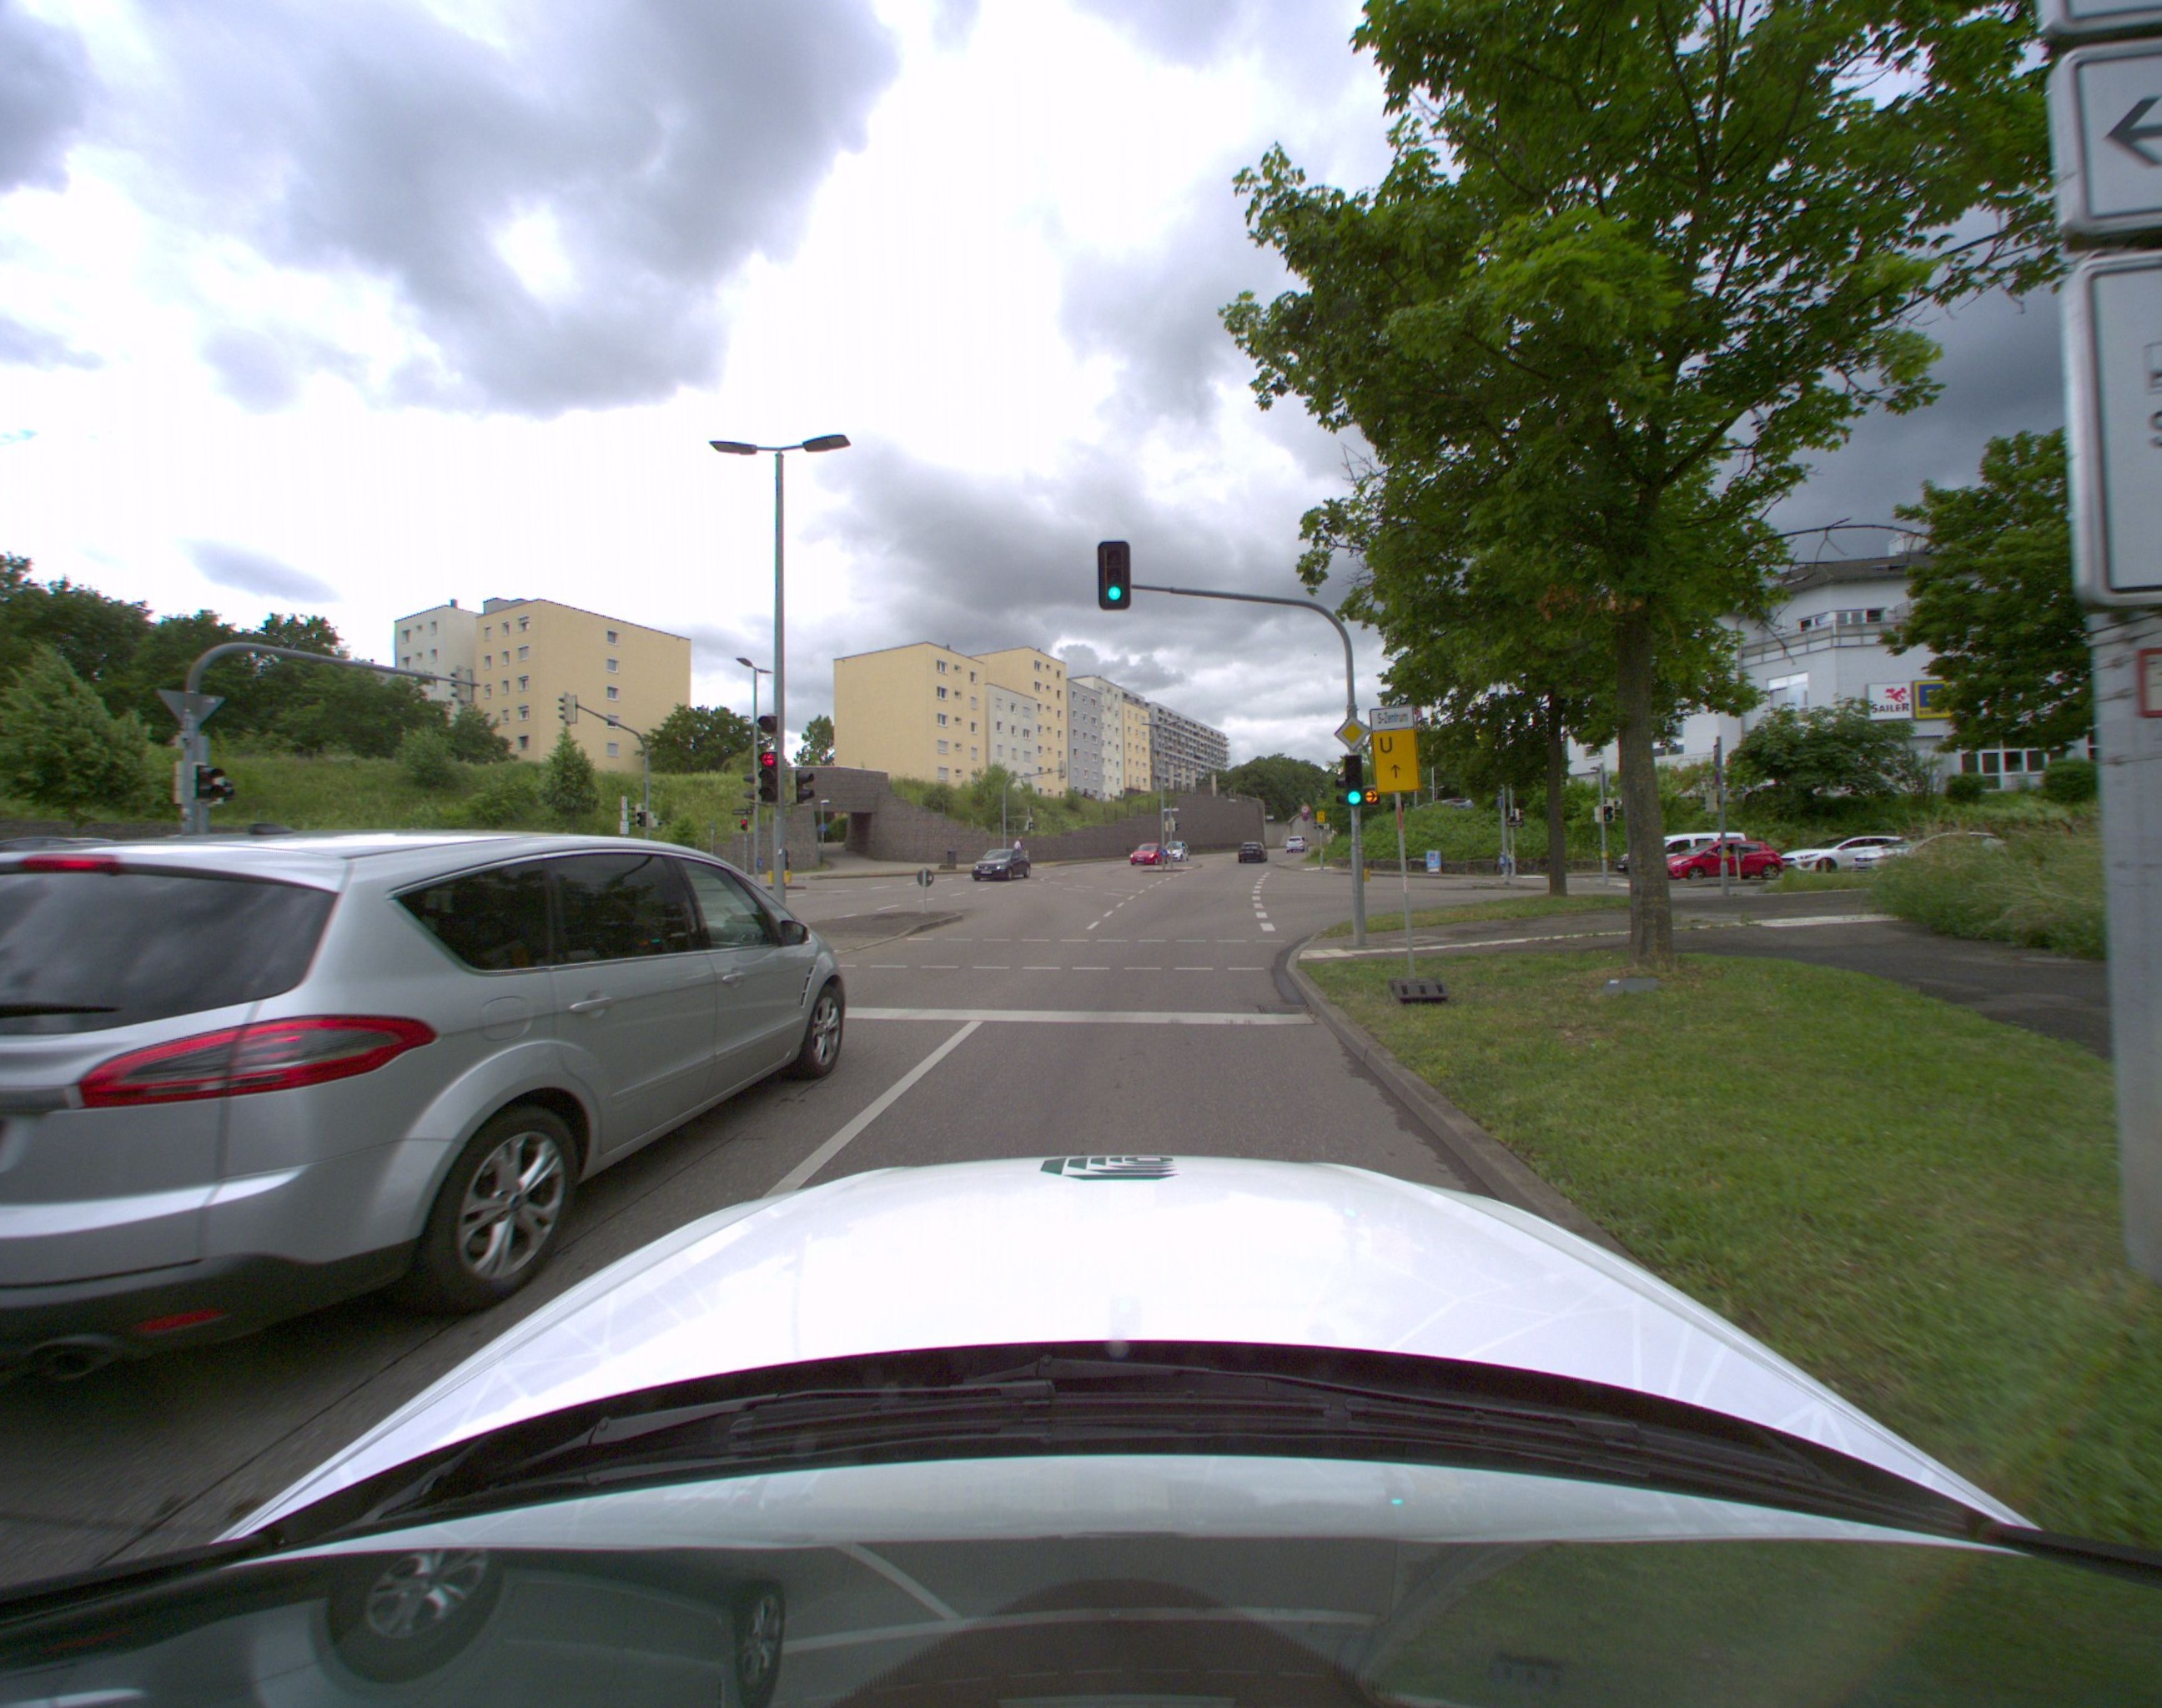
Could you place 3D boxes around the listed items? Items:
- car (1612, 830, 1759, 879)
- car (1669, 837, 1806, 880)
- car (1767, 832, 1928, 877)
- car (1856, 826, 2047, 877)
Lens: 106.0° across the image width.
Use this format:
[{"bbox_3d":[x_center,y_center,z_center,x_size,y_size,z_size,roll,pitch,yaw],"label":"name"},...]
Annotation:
[{"bbox_3d":[24.644,0.023,33.343,4.479,1.910,2.003,0,0,6],"label":"car"},{"bbox_3d":[24.356,0.163,30.338,3.461,1.530,2.003,0,0,6],"label":"car"},{"bbox_3d":[30.961,0.008,33.015,4.479,1.726,2.003,0,0,6],"label":"car"},{"bbox_3d":[30.956,-0.080,29.098,4.479,1.726,2.003,0,0,6],"label":"car"}]
